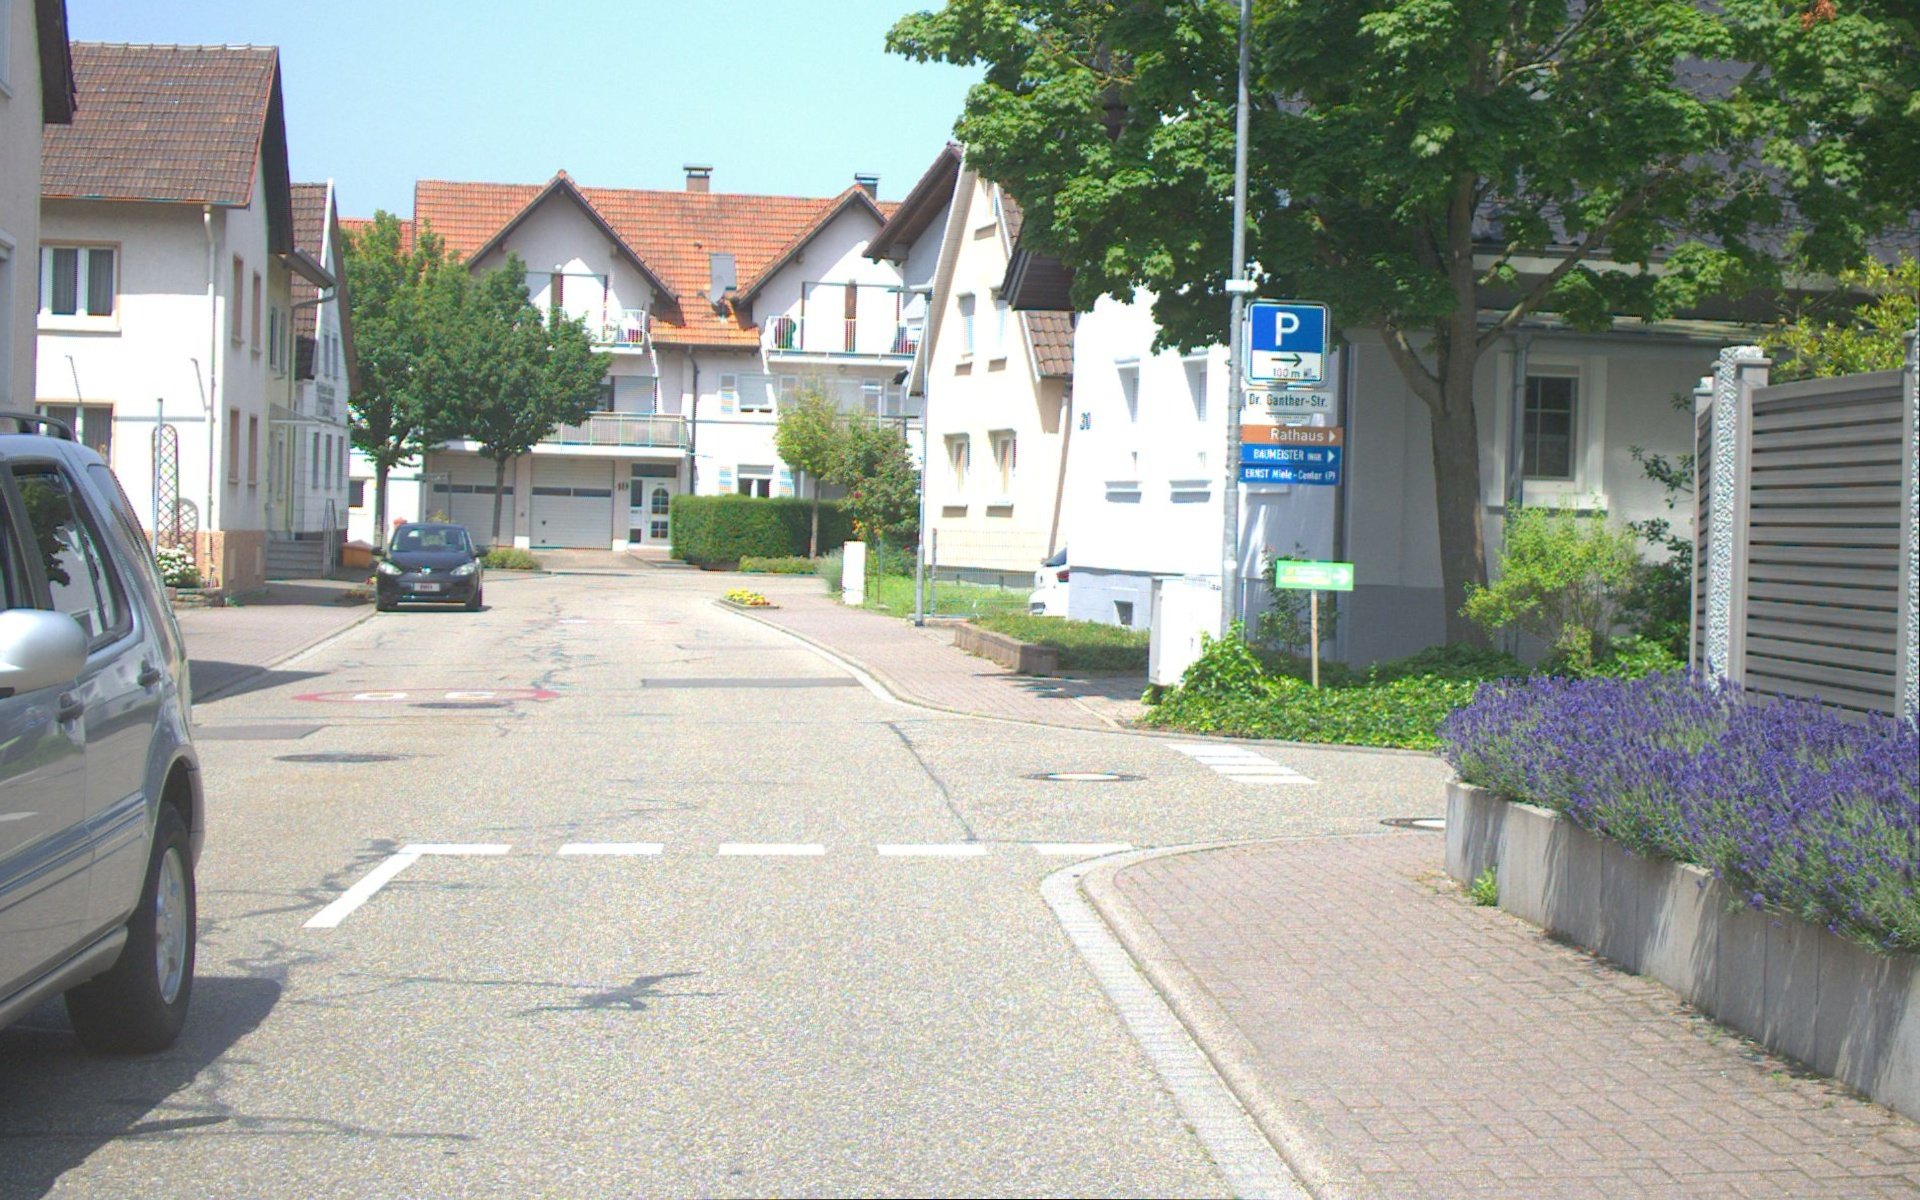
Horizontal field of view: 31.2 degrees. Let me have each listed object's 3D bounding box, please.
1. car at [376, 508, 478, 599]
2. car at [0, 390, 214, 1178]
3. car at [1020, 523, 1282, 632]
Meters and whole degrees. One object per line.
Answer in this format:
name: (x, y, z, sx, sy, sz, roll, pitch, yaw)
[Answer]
car: (-8.985, -0.813, 58.104, 1.626, 1.481, 4.001, 0, 2, -8)
car: (-3.105, 0.402, 8.090, 1.885, 1.761, 4.331, 0, 2, -2)
car: (2.418, -0.283, 43.781, 3.042, 1.341, 1.423, 1, 0, -13)
